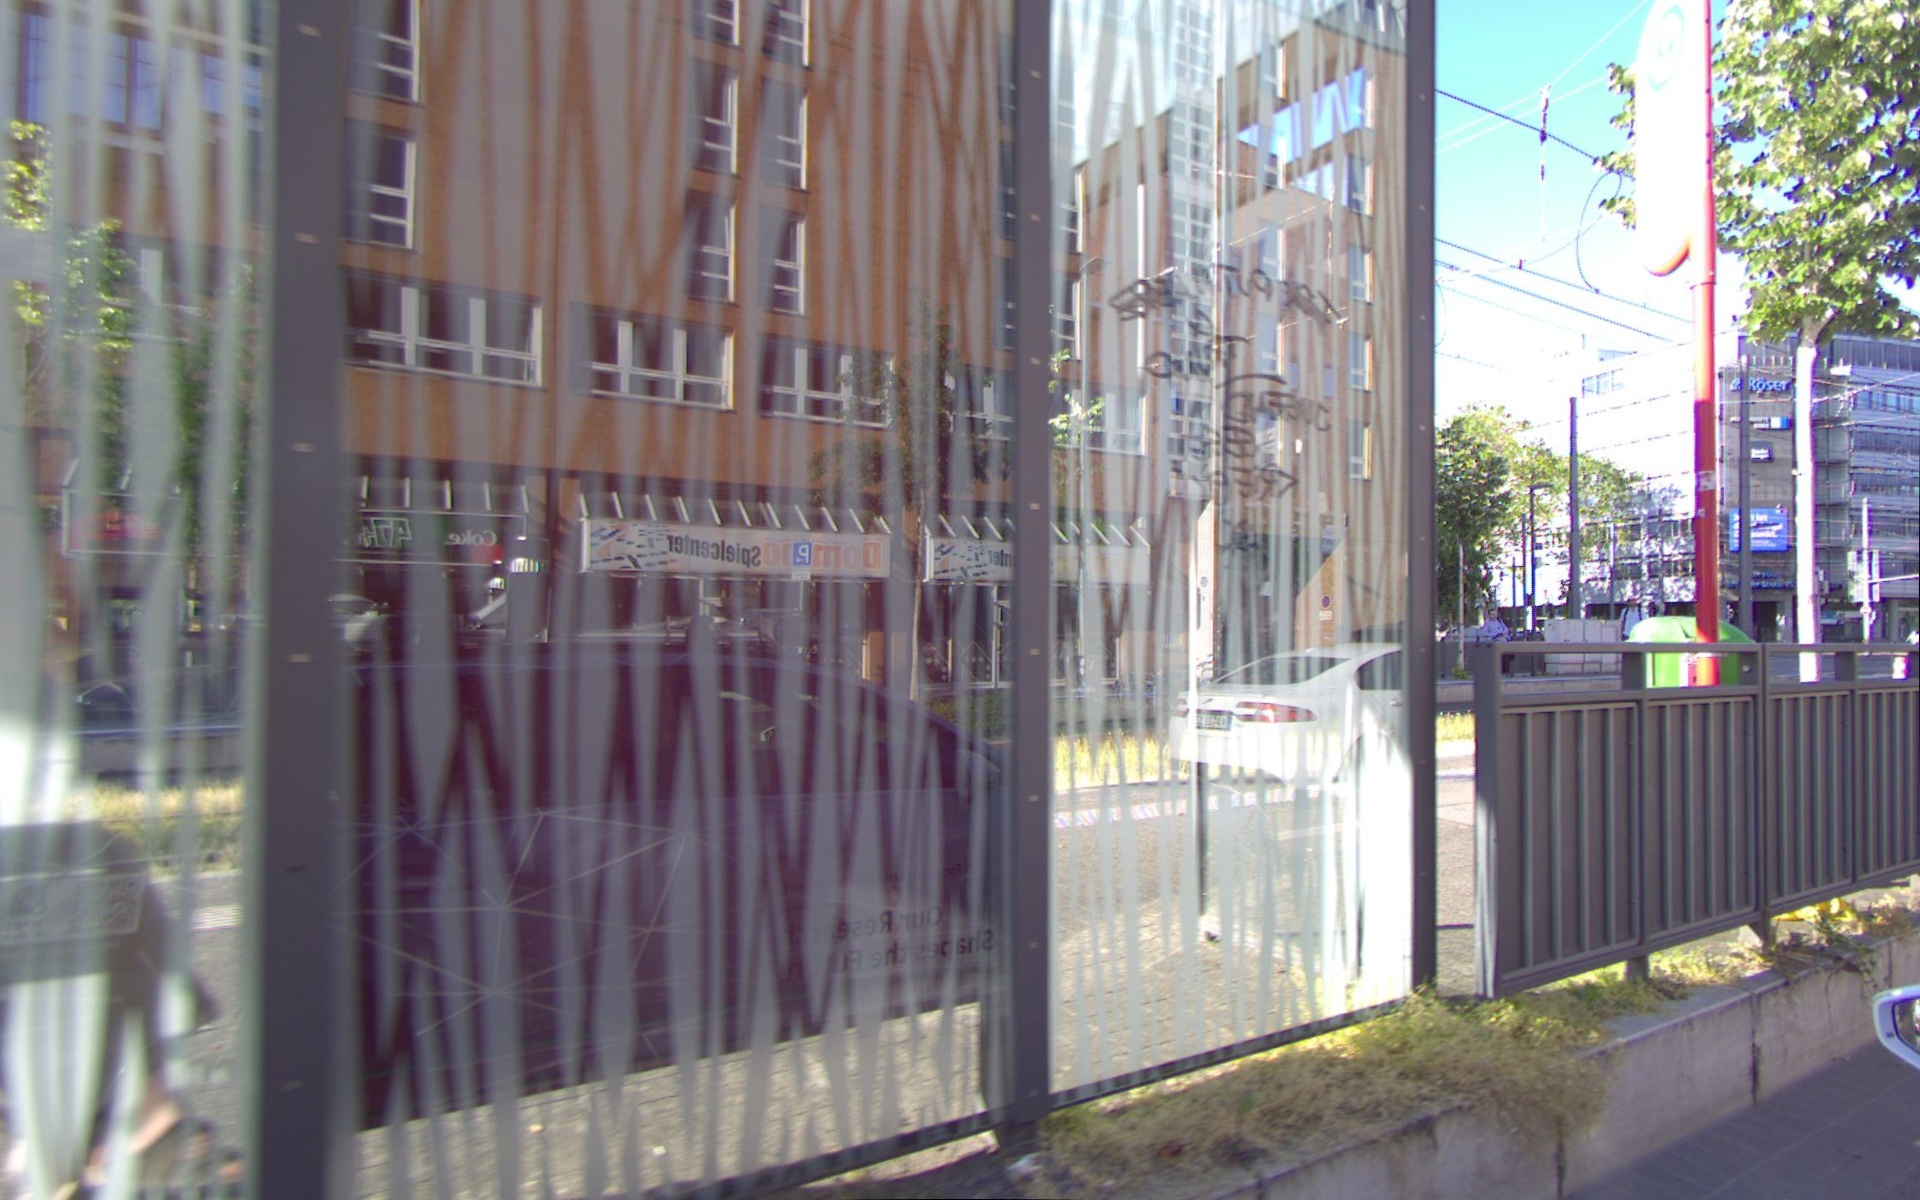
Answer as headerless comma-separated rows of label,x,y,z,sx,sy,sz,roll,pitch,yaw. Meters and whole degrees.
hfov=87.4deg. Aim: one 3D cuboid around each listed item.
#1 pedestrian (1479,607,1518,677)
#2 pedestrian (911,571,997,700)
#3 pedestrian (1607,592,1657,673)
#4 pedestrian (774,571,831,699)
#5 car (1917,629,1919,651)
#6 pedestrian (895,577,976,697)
pedestrian,12.785,0.998,23.849,0.608,1.630,0.561,1,0,-29
pedestrian,-0.079,0.463,13.491,0.934,1.665,0.637,1,1,-29
pedestrian,15.670,0.745,23.426,0.886,1.841,0.611,1,0,-29
pedestrian,-2.219,0.485,14.165,0.608,1.761,0.579,1,0,-29
car,64.662,2.627,65.747,3.954,1.483,1.984,1,-1,-31
pedestrian,-0.346,0.512,14.136,0.934,1.629,0.637,1,1,-29
